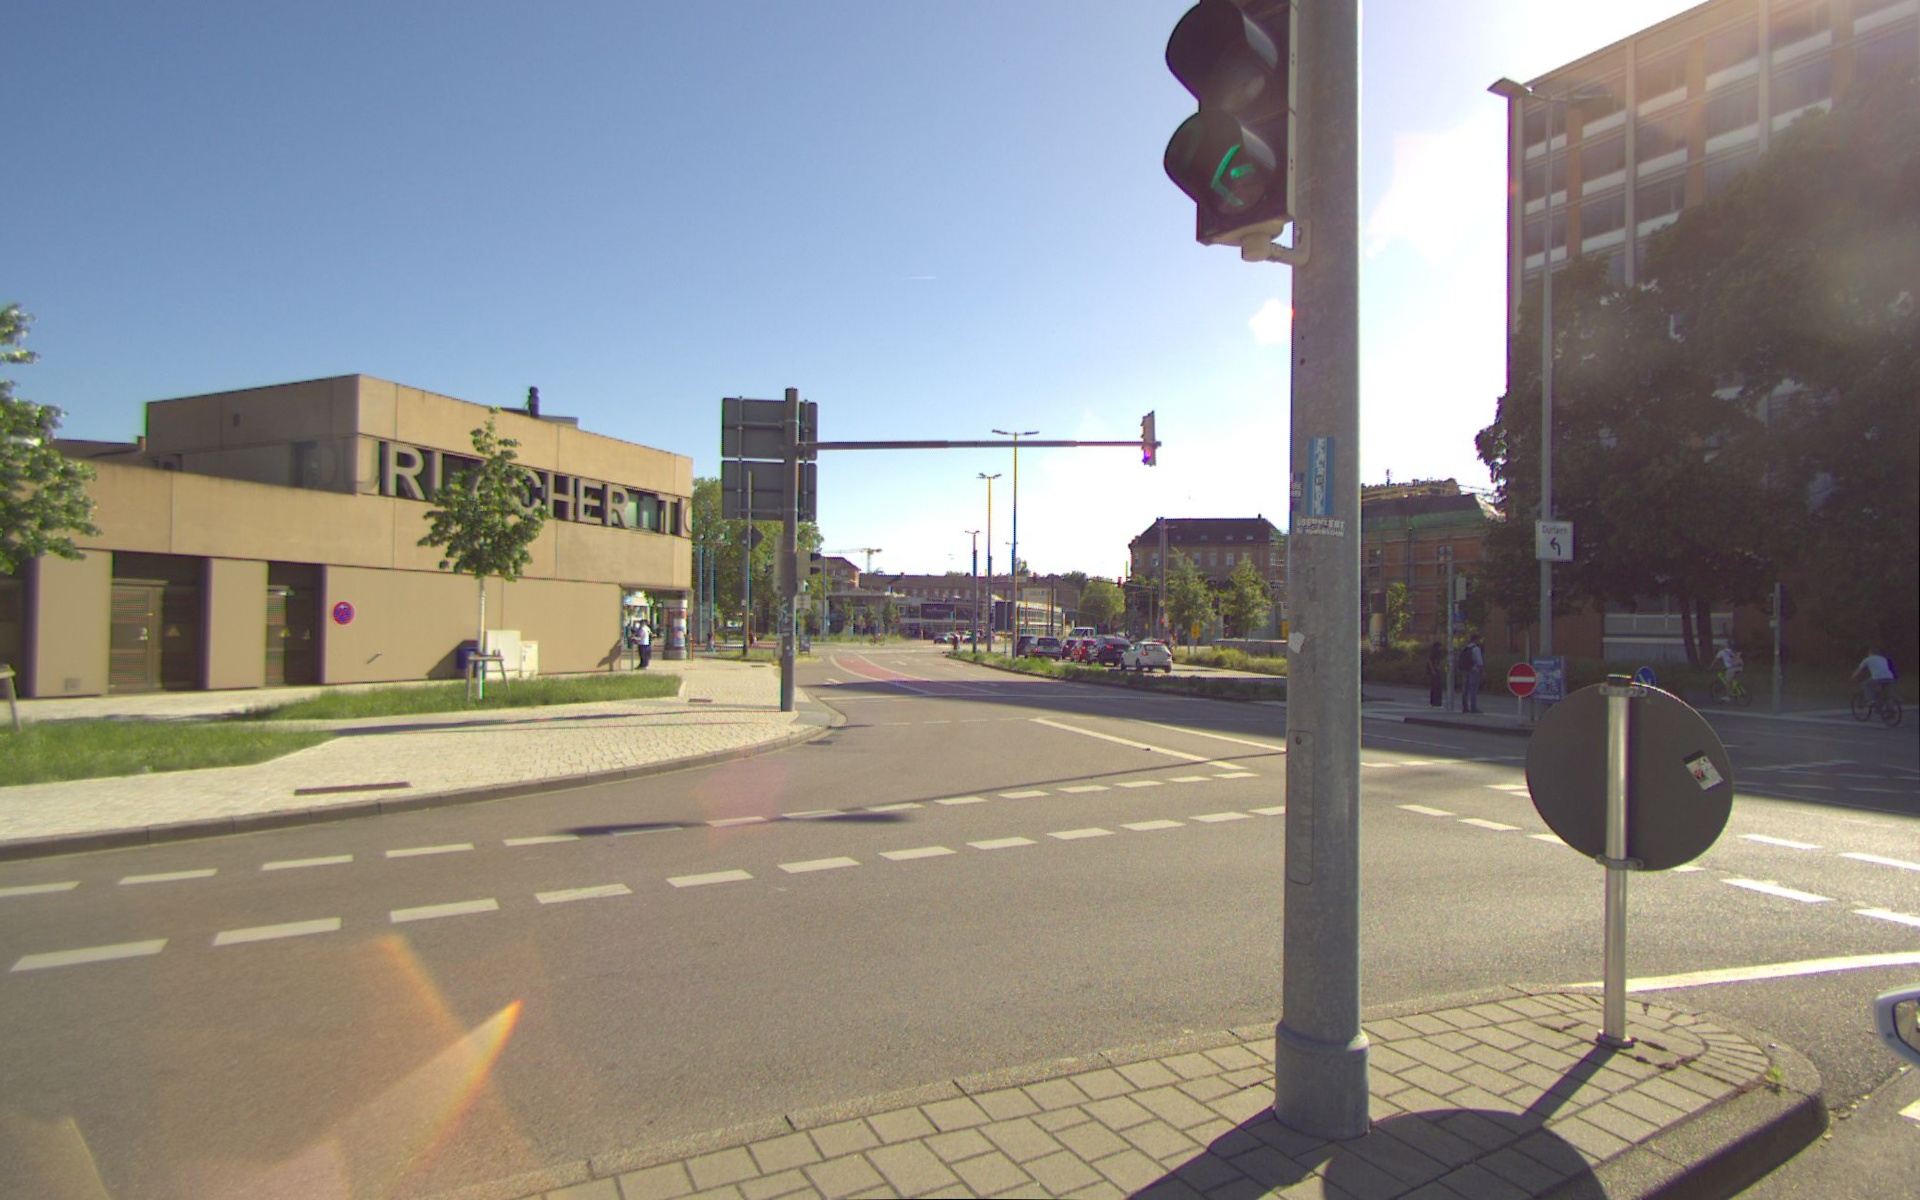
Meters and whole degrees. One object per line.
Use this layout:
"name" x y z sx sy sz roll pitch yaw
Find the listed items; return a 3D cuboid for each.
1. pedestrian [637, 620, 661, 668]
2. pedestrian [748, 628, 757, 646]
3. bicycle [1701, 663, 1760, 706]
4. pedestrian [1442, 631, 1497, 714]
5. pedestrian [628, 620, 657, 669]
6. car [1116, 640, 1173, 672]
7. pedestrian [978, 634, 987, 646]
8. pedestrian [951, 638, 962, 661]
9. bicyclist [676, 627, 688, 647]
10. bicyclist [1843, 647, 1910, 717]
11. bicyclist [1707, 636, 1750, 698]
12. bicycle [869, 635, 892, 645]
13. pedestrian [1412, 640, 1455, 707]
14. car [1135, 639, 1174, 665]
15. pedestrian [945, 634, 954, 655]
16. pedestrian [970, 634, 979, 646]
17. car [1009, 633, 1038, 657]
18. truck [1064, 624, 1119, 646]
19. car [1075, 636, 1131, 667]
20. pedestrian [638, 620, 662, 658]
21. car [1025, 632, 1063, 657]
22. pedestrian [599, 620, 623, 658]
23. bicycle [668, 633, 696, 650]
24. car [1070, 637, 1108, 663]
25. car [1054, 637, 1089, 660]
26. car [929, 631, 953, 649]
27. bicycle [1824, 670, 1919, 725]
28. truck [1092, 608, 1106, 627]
"pedestrian" -11.502 1.637 37.166 0.631 1.745 0.748 1 -4 -3
"pedestrian" -16.621 2.972 80.419 0.586 1.427 0.566 2 1 -22
"bicycle" 22.986 2.498 30.008 0.733 1.180 1.871 0 -1 15
"pedestrian" 11.855 1.672 23.356 1.086 1.857 0.748 3 -2 -39
"pedestrian" -11.382 1.601 36.048 0.777 1.745 0.594 -1 -4 37
"car" 9.083 2.745 49.735 1.665 1.454 3.732 1 -2 -8
"pedestrian" 2.738 4.931 123.660 0.856 1.427 0.687 1 1 -33
"pedestrian" -0.250 3.713 75.427 0.567 1.632 0.564 1 1 -31
"bicyclist" -21.114 2.787 76.240 0.762 1.463 0.643 2 -2 -5
"bicyclist" 22.203 1.973 24.338 0.708 1.638 0.977 1 -1 -7
"bicyclist" 23.006 1.988 30.077 0.707 1.786 0.978 0 -1 15
"bicycle" -9.472 4.764 119.731 2.615 1.204 0.943 2 1 -21
"pedestrian" 11.701 1.807 24.830 0.671 1.633 0.717 2 -2 -16
"car" 13.367 3.570 69.287 1.846 1.638 3.625 2 -2 -1
"pedestrian" -0.818 3.519 79.425 0.643 1.632 0.676 2 1 -5
"pedestrian" 1.762 4.852 123.075 0.856 1.427 0.687 1 1 -33
"car" 4.342 3.061 68.918 1.696 1.461 3.911 3 -2 1
"truck" 14.969 3.970 114.093 6.832 2.344 2.194 3 -2 -42
"car" 8.014 2.884 56.695 1.954 1.645 4.373 1 -2 -8
"pedestrian" -14.486 1.822 46.972 0.777 1.765 0.645 1 -3 37
"car" 5.162 2.724 62.132 1.698 1.461 3.797 1 -2 -4
"pedestrian" -16.307 1.807 46.922 0.777 1.745 0.645 -1 -4 36
"bicycle" -21.114 3.140 76.232 1.920 1.180 0.642 2 -2 -6
"car" 8.034 3.124 62.937 1.645 1.461 3.721 3 -2 -3
"car" 7.643 3.320 69.156 1.697 1.461 3.798 3 -2 -3
"car" -2.464 5.204 130.557 1.960 2.040 4.002 2 0 15
"bicycle" 22.186 2.345 24.392 0.705 1.180 1.868 1 -1 -6
"truck" 28.307 3.599 203.931 2.549 3.724 5.228 2 0 9
